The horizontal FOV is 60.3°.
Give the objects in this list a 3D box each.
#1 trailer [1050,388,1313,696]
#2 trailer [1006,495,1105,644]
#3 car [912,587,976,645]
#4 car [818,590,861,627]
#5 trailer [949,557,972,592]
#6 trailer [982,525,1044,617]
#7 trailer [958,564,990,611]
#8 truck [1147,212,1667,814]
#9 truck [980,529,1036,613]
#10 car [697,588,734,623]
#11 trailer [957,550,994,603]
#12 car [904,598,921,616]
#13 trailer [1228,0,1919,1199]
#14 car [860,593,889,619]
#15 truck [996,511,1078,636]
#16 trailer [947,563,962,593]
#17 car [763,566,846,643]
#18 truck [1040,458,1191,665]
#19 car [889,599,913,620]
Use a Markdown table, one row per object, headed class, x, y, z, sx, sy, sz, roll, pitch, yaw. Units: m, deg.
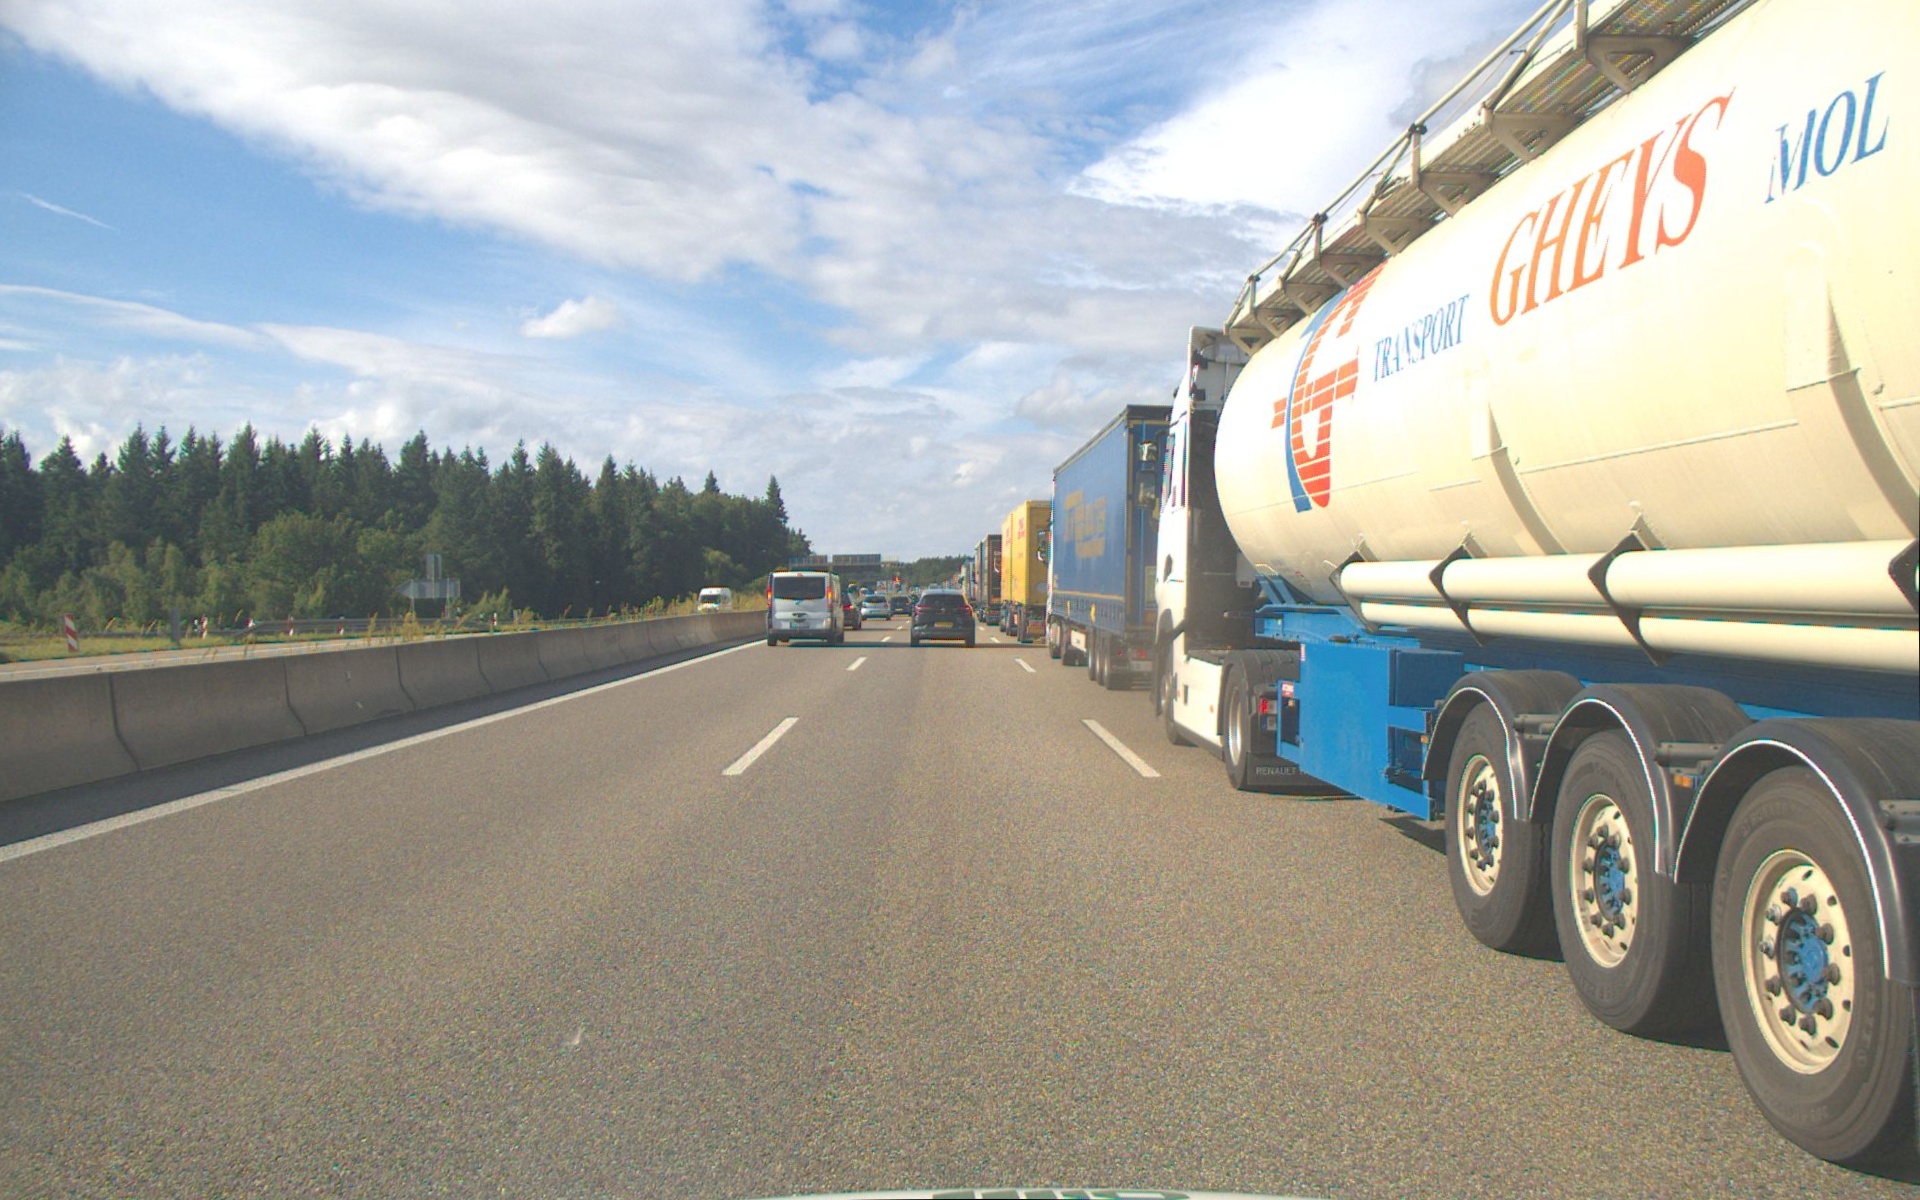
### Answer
| class | x | y | z | sx | sy | sz | roll | pitch | yaw |
| --- | --- | --- | --- | --- | --- | --- | --- | --- | --- |
| trailer | 3.413 | -0.789 | 29.601 | 2.588 | 4.169 | 13.977 | 1 | 0 | -1 |
| trailer | 2.804 | -0.890 | 50.792 | 2.363 | 4.139 | 8.925 | 1 | 0 | -1 |
| car | -0.446 | 0.420 | 45.968 | 1.662 | 1.509 | 4.159 | 1 | 0 | -1 |
| car | -4.744 | 0.332 | 65.573 | 1.469 | 1.420 | 3.475 | 1 | 0 | -1 |
| trailer | 0.113 | -3.388 | 220.167 | 2.745 | 4.318 | 11.056 | -3 | 0 | 0 |
| trailer | 2.397 | -1.310 | 77.459 | 2.660 | 4.030 | 8.712 | 1 | 1 | 1 |
| trailer | 1.247 | -1.178 | 157.218 | 2.648 | 4.152 | 12.943 | -3 | 0 | -1 |
| truck | 3.389 | -0.577 | 14.540 | 2.595 | 3.993 | 6.941 | 1 | 0 | -1 |
| truck | 2.433 | -1.440 | 86.946 | 2.684 | 4.109 | 10.202 | 1 | 0 | 0 |
| car | -19.409 | 0.427 | 131.612 | 1.992 | 2.623 | 7.320 | 1 | 0 | -1 |
| trailer | 1.161 | -1.774 | 131.811 | 2.607 | 3.936 | 13.393 | -2 | 0 | 0 |
| car | -3.897 | 0.598 | 135.839 | 1.333 | 1.420 | 3.084 | 1 | 0 | -1 |
| trailer | 3.482 | -0.581 | 7.384 | 2.592 | 4.003 | 11.173 | 1 | 0 | -1 |
| car | -4.847 | 0.328 | 94.119 | 1.469 | 1.420 | 3.475 | 1 | 0 | -1 |
| truck | 2.679 | -0.924 | 60.127 | 2.363 | 4.139 | 9.663 | 1 | 0 | -1 |
| trailer | -0.887 | -3.379 | 255.878 | 2.106 | 4.333 | 8.439 | -2 | 0 | 0 |
| car | -4.302 | 0.132 | 46.437 | 1.893 | 2.013 | 5.097 | 1 | 0 | -1 |
| truck | 3.309 | -0.773 | 36.772 | 2.594 | 4.161 | 6.490 | 1 | 0 | -1 |
| car | -4.072 | 0.642 | 113.818 | 1.549 | 1.420 | 3.207 | 1 | 0 | -1 |
